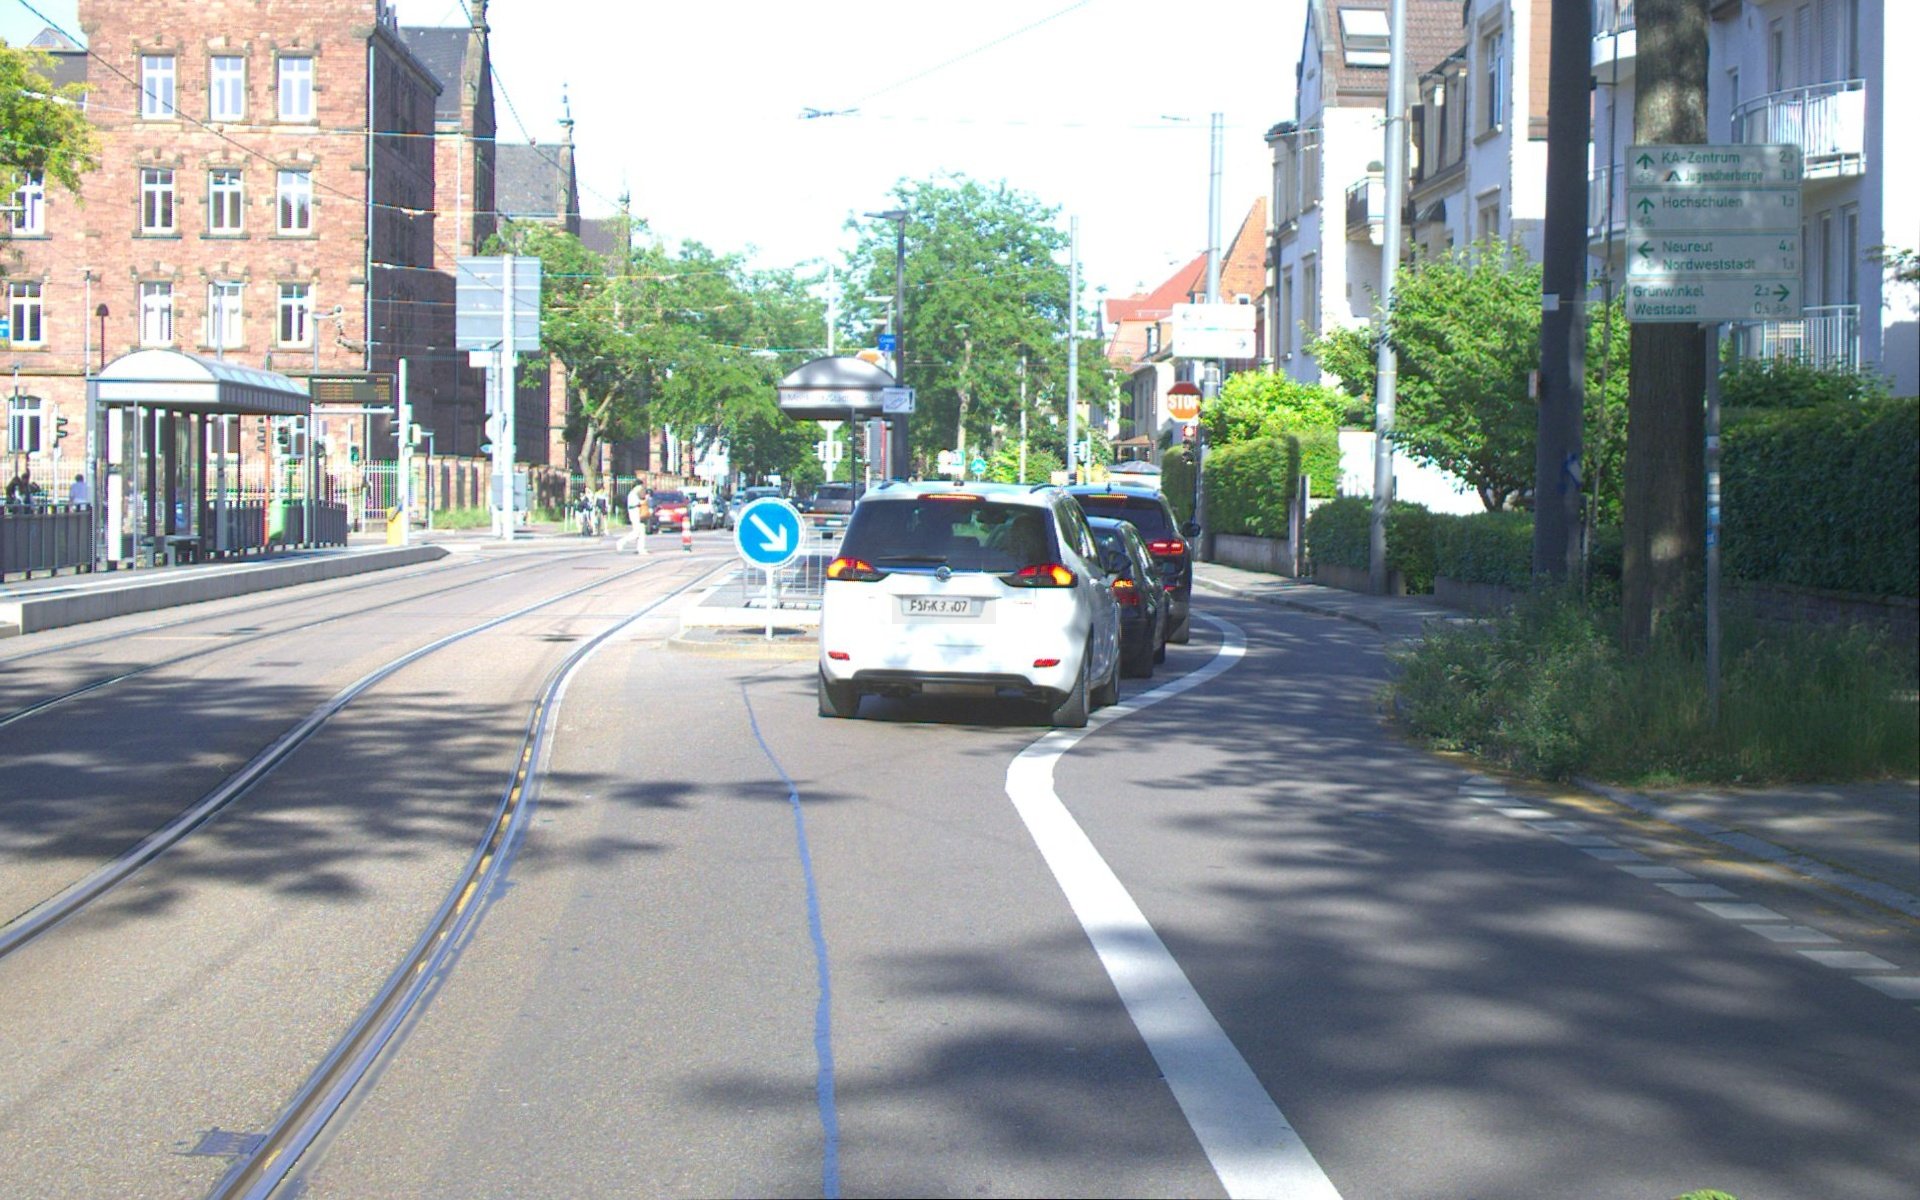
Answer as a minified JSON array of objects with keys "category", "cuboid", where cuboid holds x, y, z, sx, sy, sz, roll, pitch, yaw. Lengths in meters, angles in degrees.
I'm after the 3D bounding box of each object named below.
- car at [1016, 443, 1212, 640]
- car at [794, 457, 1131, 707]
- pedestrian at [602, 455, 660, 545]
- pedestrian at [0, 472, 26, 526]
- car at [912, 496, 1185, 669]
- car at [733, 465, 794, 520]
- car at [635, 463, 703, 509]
[{"category":"car","cuboid":[1.718,-0.670,37.162,1.709,2.006,3.905,1,2,8]},{"category":"car","cuboid":[0.113,-0.123,24.404,1.893,1.605,4.228,1,0,7]},{"category":"pedestrian","cuboid":[-7.427,-2.265,77.716,1.155,2.006,1.119,0,2,2]},{"category":"pedestrian","cuboid":[-22.308,-2.374,80.874,0.558,1.255,0.530,0,2,-2]},{"category":"car","cuboid":[0.874,-0.211,31.051,1.994,1.437,3.999,1,2,8]},{"category":"car","cuboid":[-7.086,-3.866,124.121,1.993,1.907,4.000,1,1,0]},{"category":"car","cuboid":[-11.039,-4.327,130.691,1.994,1.716,4.000,1,2,3]}]
